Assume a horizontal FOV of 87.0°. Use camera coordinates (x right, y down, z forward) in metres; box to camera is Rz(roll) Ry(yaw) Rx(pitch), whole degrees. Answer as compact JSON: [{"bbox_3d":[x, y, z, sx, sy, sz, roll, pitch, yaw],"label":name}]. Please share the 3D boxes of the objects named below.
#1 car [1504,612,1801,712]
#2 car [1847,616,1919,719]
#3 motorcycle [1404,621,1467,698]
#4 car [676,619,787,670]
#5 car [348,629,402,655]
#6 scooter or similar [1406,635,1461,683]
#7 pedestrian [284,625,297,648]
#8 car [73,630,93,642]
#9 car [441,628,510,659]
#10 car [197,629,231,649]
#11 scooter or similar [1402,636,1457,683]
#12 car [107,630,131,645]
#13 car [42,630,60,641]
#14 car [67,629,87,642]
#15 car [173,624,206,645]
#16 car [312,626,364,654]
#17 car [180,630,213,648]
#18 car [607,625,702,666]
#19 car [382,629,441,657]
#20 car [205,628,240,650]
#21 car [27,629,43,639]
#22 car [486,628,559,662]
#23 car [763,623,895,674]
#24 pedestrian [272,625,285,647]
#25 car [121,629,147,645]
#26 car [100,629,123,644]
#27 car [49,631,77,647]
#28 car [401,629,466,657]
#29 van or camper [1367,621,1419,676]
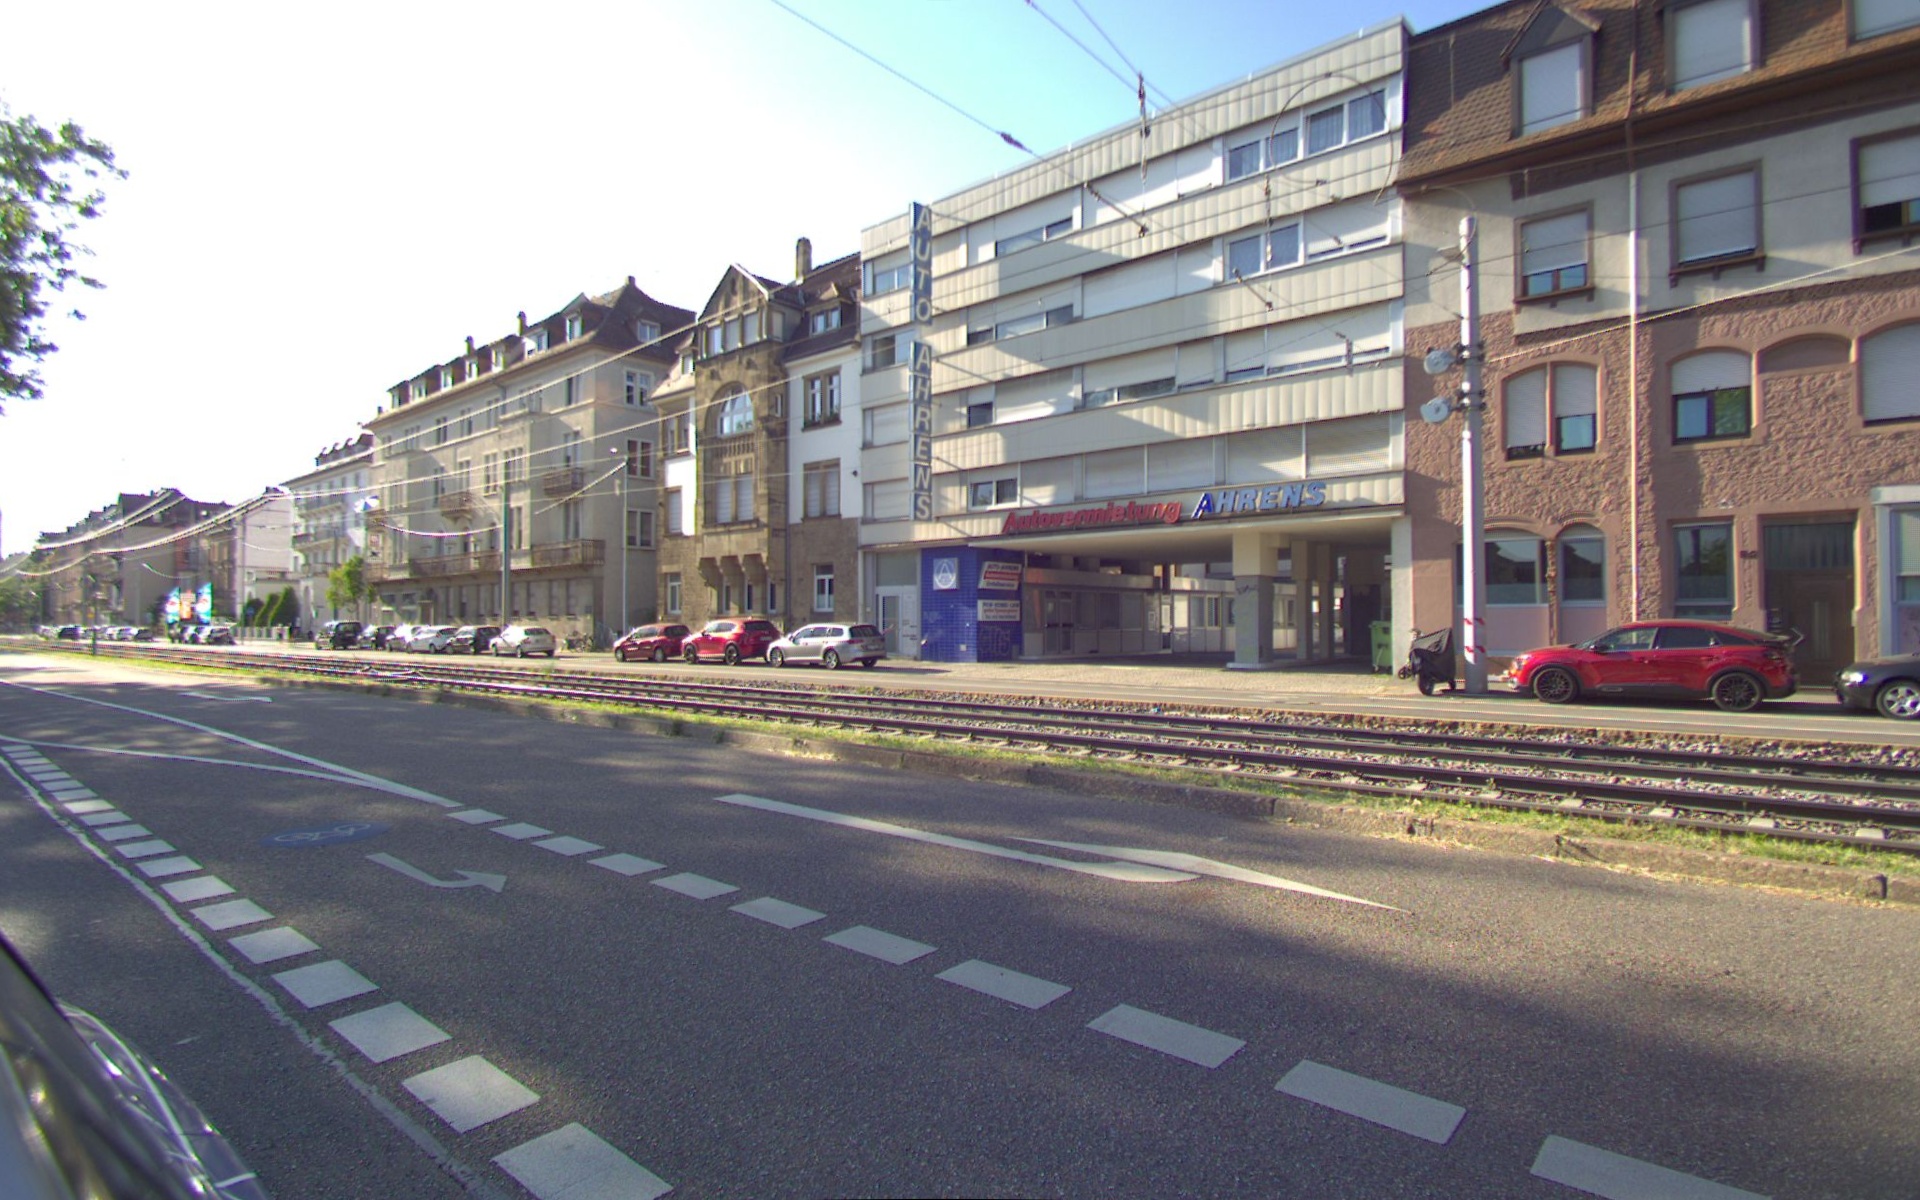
[{"bbox_3d":[12.361,1.047,18.206,4.208,1.510,1.837,-2,1,41],"label":"car"},{"bbox_3d":[15.693,0.990,14.878,3.925,1.448,1.678,-2,1,41],"label":"car"},{"bbox_3d":[9.736,1.182,20.696,0.628,1.433,1.835,-3,-1,42],"label":"motorcycle"},{"bbox_3d":[-8.392,1.590,36.907,4.262,1.700,1.836,-2,0,43],"label":"car"},{"bbox_3d":[-35.951,2.536,62.155,3.822,1.490,1.778,-2,-1,42],"label":"car"},{"bbox_3d":[11.033,1.364,23.597,1.121,1.077,0.202,-2,-1,42],"label":"scooter or similar"},{"bbox_3d":[-54.776,2.992,82.835,0.677,1.803,0.716,-2,-3,41],"label":"pedestrian"},{"bbox_3d":[-115.982,4.729,133.784,3.449,1.602,1.603,-1,-1,42],"label":"car"},{"bbox_3d":[-24.865,2.215,51.922,3.820,1.441,1.779,-2,-1,40],"label":"car"},{"bbox_3d":[-63.999,3.319,86.767,3.387,1.583,1.662,-1,-1,42],"label":"car"},{"bbox_3d":[10.842,1.366,23.389,1.121,1.077,0.202,-2,-1,42],"label":"scooter or similar"},{"bbox_3d":[-94.083,4.136,113.235,3.449,1.602,1.603,-1,-1,42],"label":"car"},{"bbox_3d":[-133.555,5.219,148.749,3.449,1.602,1.603,-1,-1,42],"label":"car"},{"bbox_3d":[-119.571,4.802,137.071,3.449,1.602,1.603,-1,-1,42],"label":"car"},{"bbox_3d":[-71.528,3.198,93.920,3.879,1.800,1.705,-1,-1,42],"label":"car"},{"bbox_3d":[-40.291,2.578,65.520,3.914,1.750,1.851,-2,-1,42],"label":"car"},{"bbox_3d":[-67.916,3.443,90.021,3.387,1.583,1.662,-1,-1,42],"label":"car"},{"bbox_3d":[-12.204,1.804,40.348,3.722,1.507,1.736,-2,0,36],"label":"car"},{"bbox_3d":[-31.533,2.439,58.127,3.822,1.490,1.778,-2,-1,42],"label":"car"},{"bbox_3d":[-60.281,3.167,82.664,3.407,1.644,1.655,-2,-1,42],"label":"car"},{"bbox_3d":[-152.985,5.582,167.412,3.449,1.602,1.603,-1,-1,42],"label":"car"},{"bbox_3d":[-20.919,2.135,48.354,3.822,1.490,1.778,-2,-1,42],"label":"car"},{"bbox_3d":[-4.352,1.569,33.303,4.379,1.510,1.837,-2,0,41],"label":"car"},{"bbox_3d":[-55.464,2.914,82.325,0.677,1.803,0.716,-2,-3,41],"label":"pedestrian"},{"bbox_3d":[-87.209,3.942,106.874,3.449,1.602,1.603,-1,-1,42],"label":"car"},{"bbox_3d":[-97.929,4.224,116.773,3.449,1.602,1.603,-1,-1,42],"label":"car"},{"bbox_3d":[-96.988,4.176,109.436,3.999,1.697,1.798,-2,-2,42],"label":"car"},{"bbox_3d":[-28.308,2.297,54.359,3.531,1.457,1.624,-2,-1,35],"label":"car"},{"bbox_3d":[11.103,1.226,25.926,0.803,1.368,1.409,-2,-2,41],"label":"van or camper"}]
